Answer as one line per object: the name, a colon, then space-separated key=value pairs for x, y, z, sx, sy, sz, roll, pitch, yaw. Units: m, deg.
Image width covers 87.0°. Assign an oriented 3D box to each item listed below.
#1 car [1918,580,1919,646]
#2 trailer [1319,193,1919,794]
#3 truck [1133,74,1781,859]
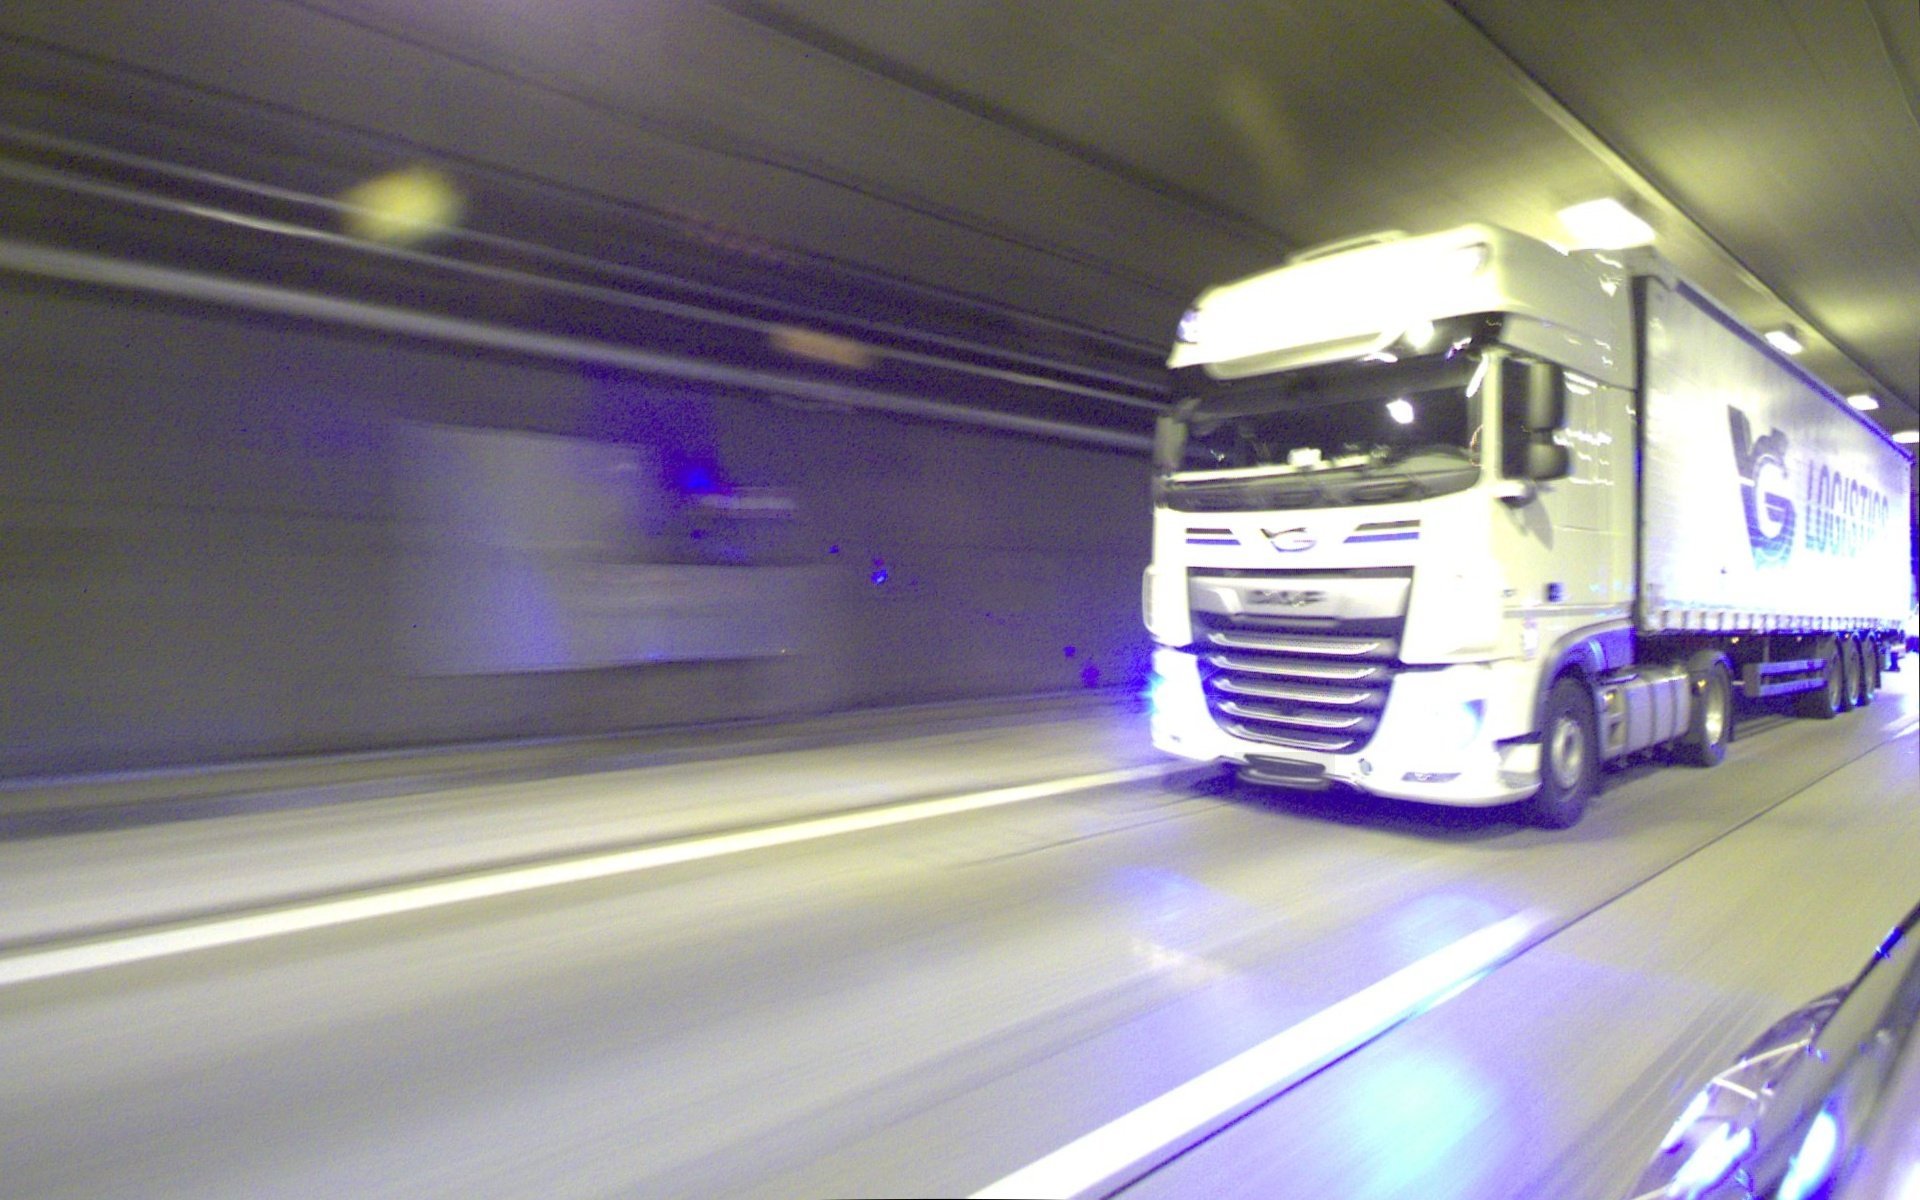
car: x=29.253 y=0.370 z=29.241 sx=4.212 sy=1.883 sz=1.839 roll=0 pitch=0 yaw=-40
trailer: x=9.339 y=-0.761 z=12.569 sx=13.754 sy=4.216 sz=2.625 roll=0 pitch=-1 yaw=-40
truck: x=4.378 y=-0.733 z=8.354 sx=5.898 sy=4.216 sz=2.651 roll=0 pitch=0 yaw=-40
